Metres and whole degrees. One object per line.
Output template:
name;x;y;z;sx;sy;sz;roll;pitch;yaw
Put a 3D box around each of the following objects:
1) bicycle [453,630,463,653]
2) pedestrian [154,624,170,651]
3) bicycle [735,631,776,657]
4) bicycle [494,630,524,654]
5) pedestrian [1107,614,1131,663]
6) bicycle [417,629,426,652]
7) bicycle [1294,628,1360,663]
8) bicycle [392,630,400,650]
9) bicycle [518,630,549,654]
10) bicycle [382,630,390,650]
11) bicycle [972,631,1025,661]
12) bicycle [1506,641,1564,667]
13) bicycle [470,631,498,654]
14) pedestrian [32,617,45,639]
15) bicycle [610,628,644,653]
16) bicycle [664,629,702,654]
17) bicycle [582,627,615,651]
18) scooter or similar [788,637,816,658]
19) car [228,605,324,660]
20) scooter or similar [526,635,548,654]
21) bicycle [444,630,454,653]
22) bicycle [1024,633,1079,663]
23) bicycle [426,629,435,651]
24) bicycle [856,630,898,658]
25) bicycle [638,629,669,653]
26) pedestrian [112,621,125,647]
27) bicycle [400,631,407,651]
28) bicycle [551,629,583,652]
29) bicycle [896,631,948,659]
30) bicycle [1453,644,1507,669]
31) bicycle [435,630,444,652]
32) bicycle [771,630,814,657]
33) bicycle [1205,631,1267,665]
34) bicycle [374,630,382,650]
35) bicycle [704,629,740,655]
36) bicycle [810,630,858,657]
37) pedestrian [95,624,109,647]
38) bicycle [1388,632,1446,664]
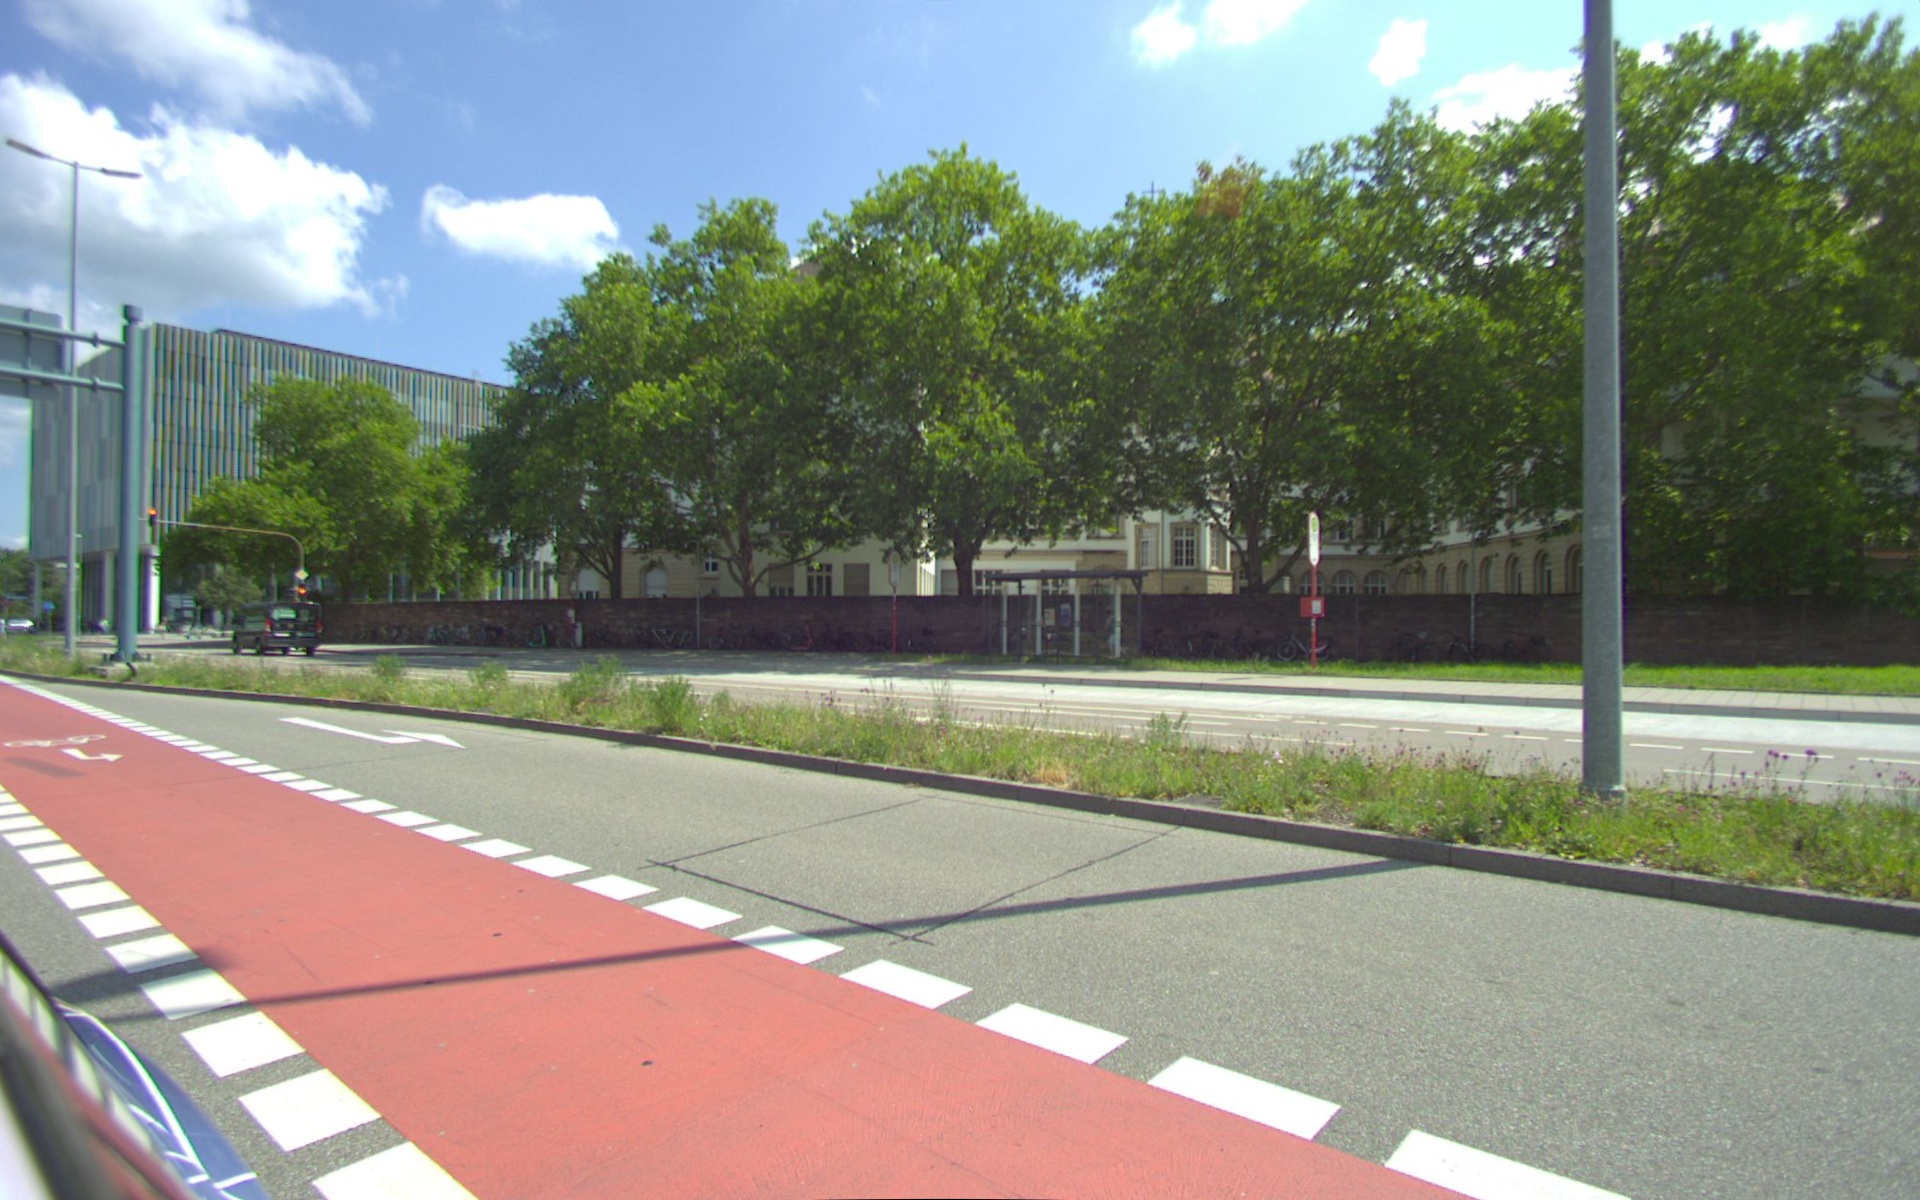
bicycle;-24.899;2.056;50.223;0.376;1.116;1.675;1;-2;-29
pedestrian;-58.622;2.746;74.315;0.806;1.931;0.707;0;0;35
bicycle;-8.335;1.782;41.254;1.752;1.011;0.394;-1;-2;26
bicycle;-21.540;2.007;48.340;1.663;1.116;0.379;-1;-2;30
pedestrian;5.376;1.285;34.153;0.773;1.623;0.720;0;-2;11
bicycle;-27.474;2.048;51.610;0.376;1.116;1.675;1;-2;-29
bicycle;12.162;1.496;33.594;2.021;1.146;0.396;0;-2;17
bicycle;-29.700;2.110;53.298;0.324;1.025;1.675;1;-2;-29
bicycle;-20.016;1.956;47.481;1.662;1.116;0.379;-1;-2;28
bicycle;-30.493;2.125;53.794;0.324;1.025;1.675;1;-2;-29
bicycle;1.411;1.669;37.023;1.944;1.051;0.395;0;-2;21
bicycle;18.180;1.690;32.006;1.529;0.795;0.396;0;-2;14
bicycle;-23.246;2.060;49.433;1.664;1.116;0.378;-1;-2;31
pedestrian;-82.749;2.536;90.897;0.806;1.931;0.707;0;0;35
bicycle;-14.618;1.760;44.374;1.662;1.051;0.379;-1;-2;28
bicycle;-11.760;1.743;42.942;1.752;1.051;0.394;-1;-2;26
bicycle;-16.152;1.723;45.223;1.662;1.051;0.379;-1;-2;28
scooter or similar;-6.168;1.835;39.536;1.060;0.800;0.351;0;-2;16
car;-28.632;1.377;42.331;4.518;2.188;2.185;-2;-3;41
scooter or similar;-19.400;2.031;46.398;1.064;0.850;0.350;-1;-2;27
bicycle;-25.563;2.059;50.605;0.376;1.116;1.675;1;-2;-29
bicycle;3.286;1.711;36.265;1.944;1.051;0.395;0;-2;21
bicycle;-26.976;2.041;51.527;0.376;1.116;1.675;1;-2;-29
bicycle;-3.203;1.695;38.957;1.628;1.051;0.395;0;-2;21
bicycle;-13.223;1.760;43.651;1.409;1.051;0.374;-1;-2;26
pedestrian;-61.420;2.473;73.864;0.717;1.932;0.624;0;0;37
bicycle;-29.088;2.113;52.919;0.324;1.025;1.675;1;-2;-29
bicycle;-17.887;1.833;46.082;1.662;1.051;0.379;-1;-2;28
bicycle;-1.443;1.693;38.260;1.944;1.051;0.395;0;-2;21
bicycle;16.637;1.807;32.398;1.452;0.795;0.396;0;-2;14
bicycle;-26.285;2.066;51.082;0.376;1.116;1.675;1;-2;-29
bicycle;-6.704;1.730;40.461;1.751;1.051;0.394;-1;-2;25
bicycle;9.379;1.629;34.378;2.021;1.146;0.396;0;-2;17
bicycle;-31.134;2.119;54.164;0.324;1.025;1.675;1;-2;-29
bicycle;-9.883;1.731;42.025;1.575;1.051;0.394;-1;-2;26
bicycle;-4.938;1.706;39.653;1.945;1.051;0.395;-1;-2;24
pedestrian;-75.686;3.128;89.261;0.806;1.931;0.816;0;0;35
bicycle;14.824;1.548;32.842;1.671;1.038;0.396;0;-2;14
